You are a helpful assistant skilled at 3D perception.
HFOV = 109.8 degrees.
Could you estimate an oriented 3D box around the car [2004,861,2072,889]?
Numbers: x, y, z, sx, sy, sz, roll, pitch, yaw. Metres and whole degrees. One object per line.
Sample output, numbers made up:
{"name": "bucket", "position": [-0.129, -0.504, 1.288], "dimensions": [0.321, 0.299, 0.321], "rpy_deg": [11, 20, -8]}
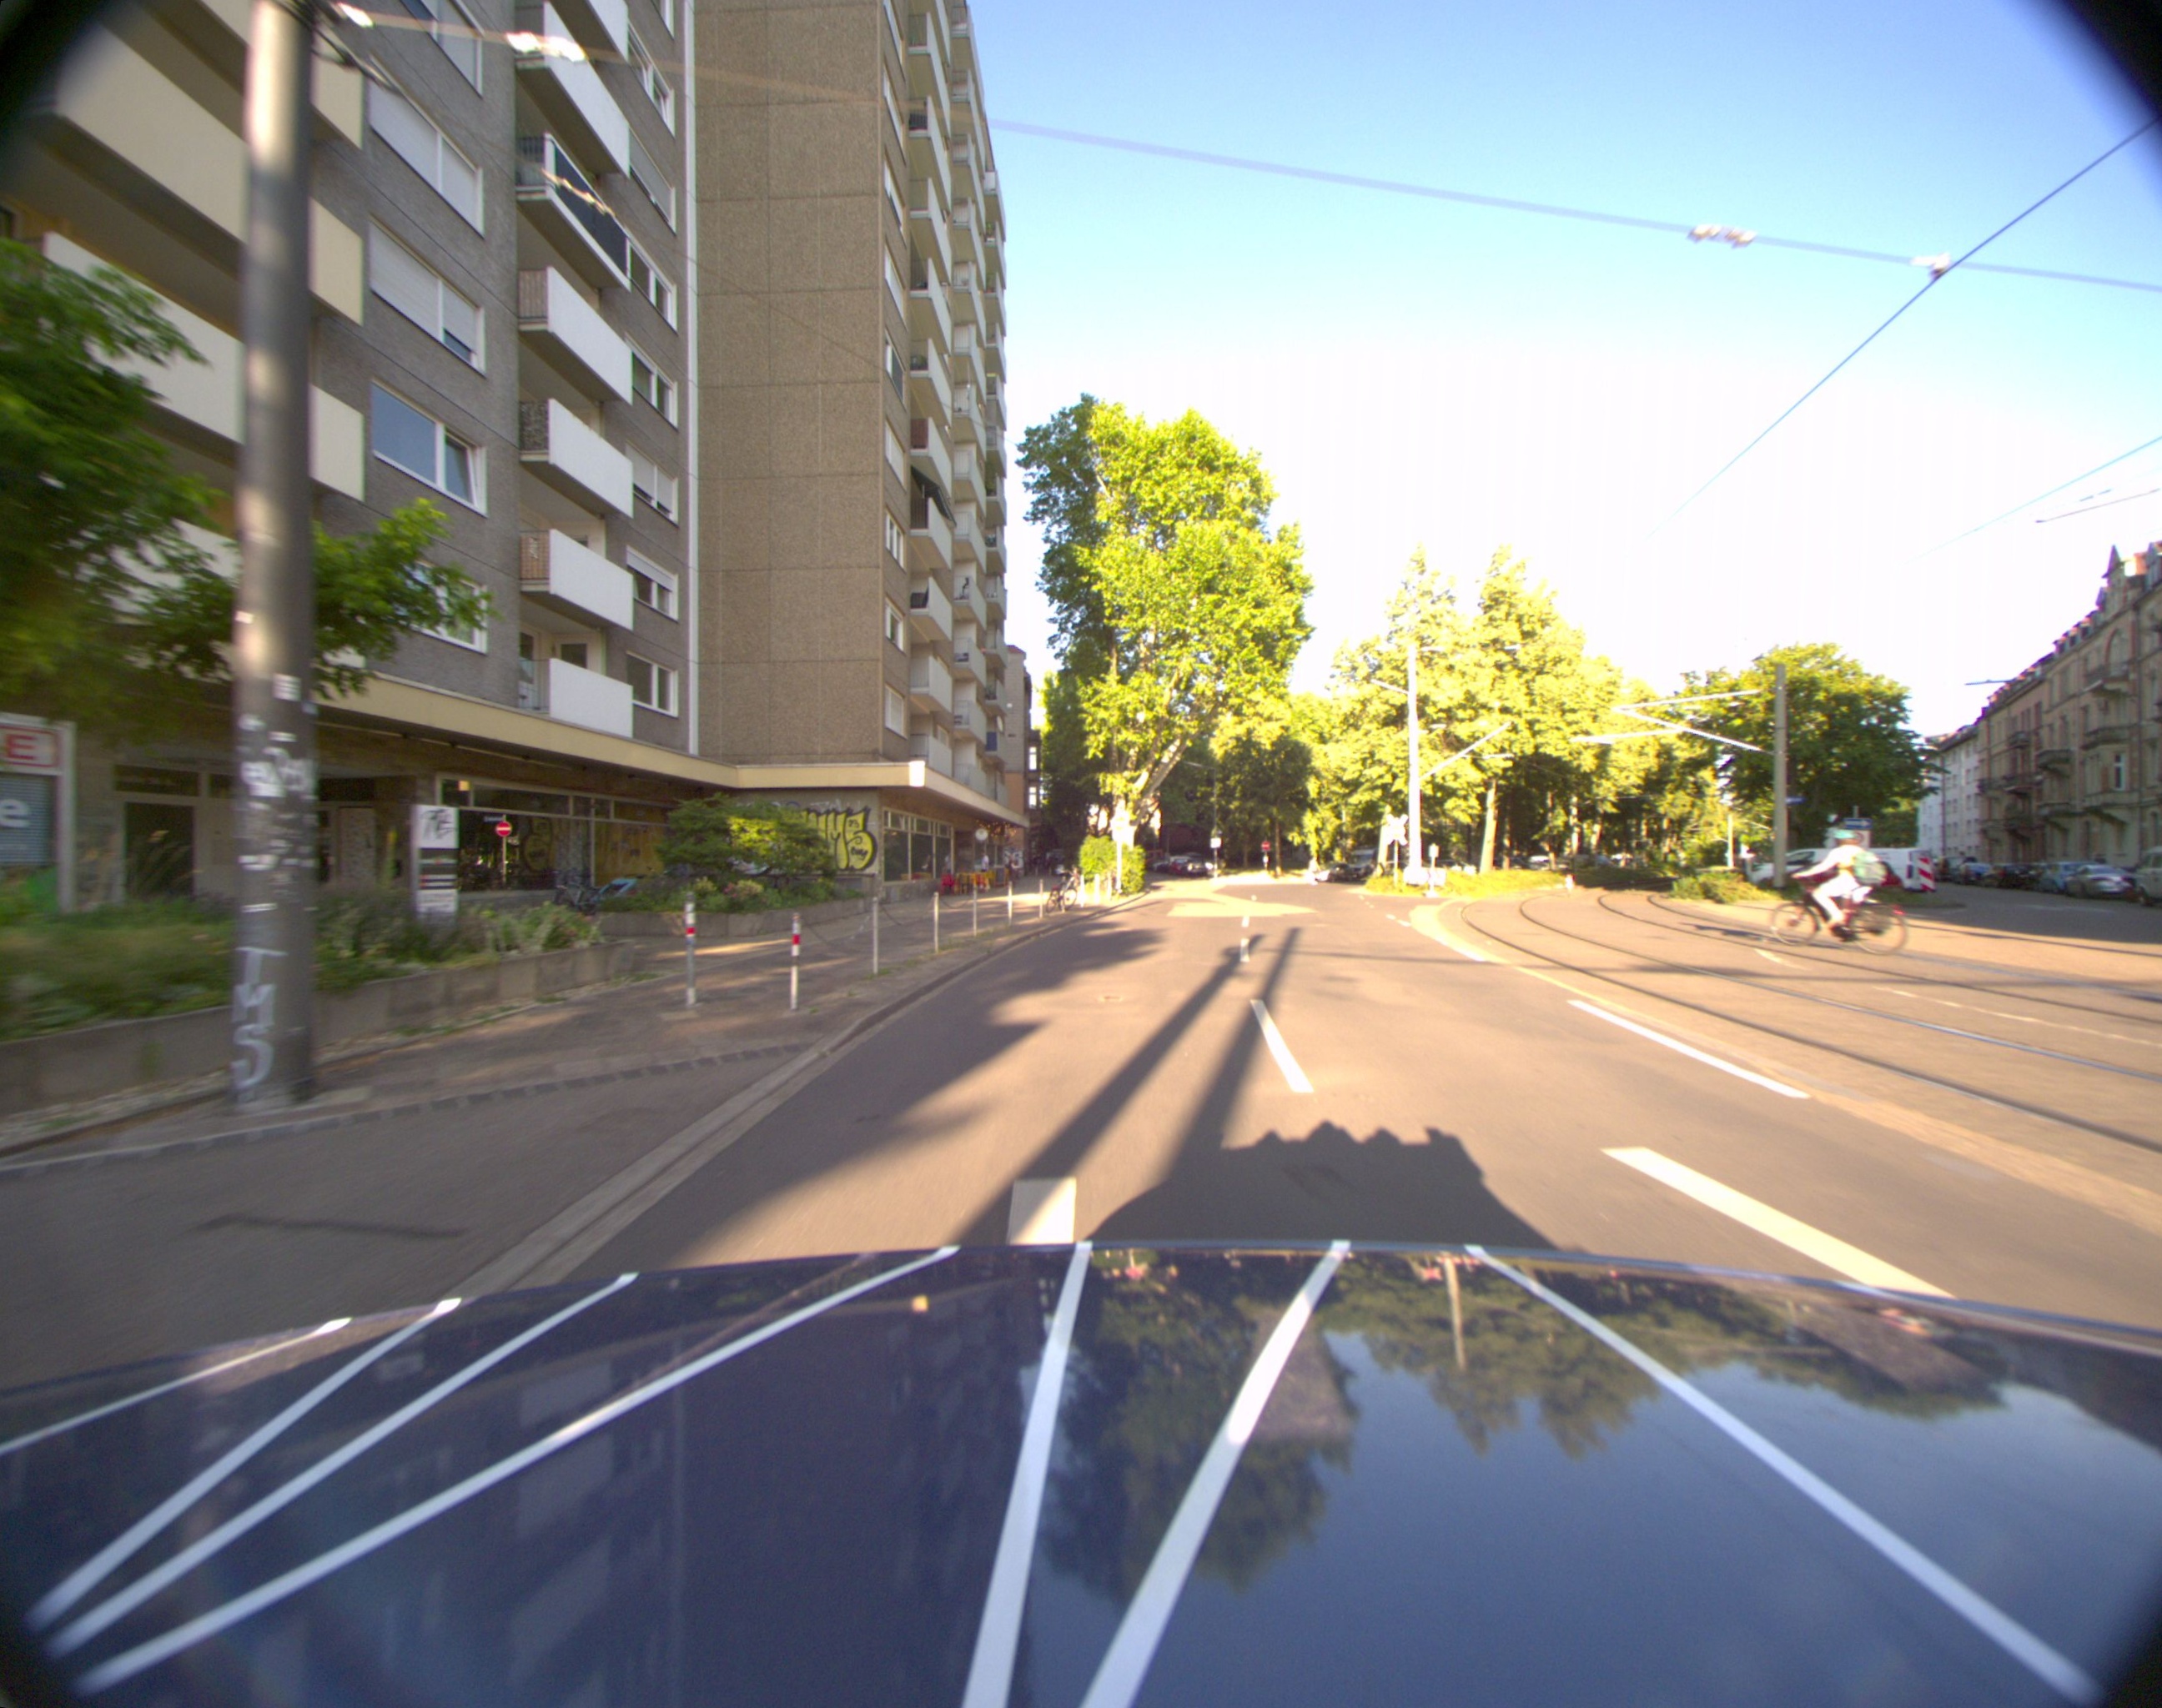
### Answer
{"name": "car", "position": [48.353, 1.040, 38.469], "dimensions": [3.696, 1.346, 1.736], "rpy_deg": [0, 0, -45]}

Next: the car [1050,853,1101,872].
{"name": "car", "position": [-0.444, 0.695, 62.072], "dimensions": [3.999, 1.499, 1.885], "rpy_deg": [0, 0, -7]}

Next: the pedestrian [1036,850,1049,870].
{"name": "pedestrian", "position": [-3.888, 0.569, 75.972], "dimensions": [1.213, 2.002, 1.206], "rpy_deg": [0, 0, -6]}

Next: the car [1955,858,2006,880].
{"name": "car", "position": [57.570, 0.918, 48.695], "dimensions": [1.736, 1.346, 3.696], "rpy_deg": [0, 0, 44]}

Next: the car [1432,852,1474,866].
{"name": "car", "position": [45.300, 0.572, 92.617], "dimensions": [2.003, 1.696, 4.347], "rpy_deg": [0, 0, -28]}

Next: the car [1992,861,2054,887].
{"name": "car", "position": [52.881, 1.087, 42.715], "dimensions": [1.736, 1.346, 3.696], "rpy_deg": [0, 0, 44]}

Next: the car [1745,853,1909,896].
{"name": "car", "position": [27.713, 0.715, 28.383], "dimensions": [1.871, 1.499, 3.991], "rpy_deg": [0, 0, -27]}

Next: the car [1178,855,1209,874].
{"name": "car", "position": [9.107, 0.826, 61.578], "dimensions": [1.740, 1.440, 3.630], "rpy_deg": [0, 0, -5]}

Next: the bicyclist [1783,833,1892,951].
{"name": "bicyclist", "position": [11.710, 0.565, 11.795], "dimensions": [0.607, 1.752, 1.060], "rpy_deg": [0, 0, -5]}

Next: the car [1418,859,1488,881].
{"name": "car", "position": [24.023, 0.982, 49.134], "dimensions": [1.744, 1.346, 3.679], "rpy_deg": [0, 0, -32]}

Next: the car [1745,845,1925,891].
{"name": "car", "position": [31.723, 0.562, 32.177], "dimensions": [2.003, 1.798, 5.048], "rpy_deg": [0, 0, -27]}

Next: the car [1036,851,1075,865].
{"name": "car", "position": [-2.669, 0.406, 79.886], "dimensions": [3.999, 1.499, 1.885], "rpy_deg": [0, 0, -6]}

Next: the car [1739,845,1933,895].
{"name": "car", "position": [29.473, 0.584, 29.905], "dimensions": [2.003, 1.777, 5.048], "rpy_deg": [0, 0, -27]}

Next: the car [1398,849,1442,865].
{"name": "car", "position": [38.547, 0.364, 86.499], "dimensions": [2.002, 1.739, 4.435], "rpy_deg": [0, 0, -22]}

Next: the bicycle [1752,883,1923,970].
{"name": "bicycle", "position": [11.710, 1.080, 11.873], "dimensions": [0.611, 1.168, 1.951], "rpy_deg": [0, 0, -5]}

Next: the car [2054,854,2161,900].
{"name": "car", "position": [41.390, 0.872, 30.737], "dimensions": [4.273, 1.695, 1.994], "rpy_deg": [0, 0, -45]}

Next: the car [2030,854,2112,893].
{"name": "car", "position": [45.703, 0.845, 35.165], "dimensions": [3.696, 1.695, 1.838], "rpy_deg": [0, 0, -45]}

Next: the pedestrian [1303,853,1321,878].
{"name": "pedestrian", "position": [15.981, 0.795, 52.588], "dimensions": [0.889, 1.758, 0.829], "rpy_deg": [0, 0, -15]}

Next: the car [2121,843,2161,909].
{"name": "car", "position": [35.273, 0.658, 24.117], "dimensions": [4.646, 2.002, 1.994], "rpy_deg": [0, 0, -45]}

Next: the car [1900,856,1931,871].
{"name": "car", "position": [78.334, 0.872, 71.367], "dimensions": [1.736, 1.346, 3.696], "rpy_deg": [0, 0, 44]}

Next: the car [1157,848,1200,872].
{"name": "car", "position": [9.526, 0.582, 74.537], "dimensions": [3.926, 2.391, 1.534], "rpy_deg": [0, 0, -8]}

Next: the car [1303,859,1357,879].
{"name": "car", "position": [18.266, 1.091, 55.681], "dimensions": [4.008, 1.390, 1.945], "rpy_deg": [0, 0, -41]}

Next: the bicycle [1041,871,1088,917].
{"name": "bicycle", "position": [-0.417, 1.051, 20.626], "dimensions": [0.609, 1.128, 2.283], "rpy_deg": [0, 0, 17]}

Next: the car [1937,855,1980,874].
{"name": "car", "position": [64.222, 0.750, 55.646], "dimensions": [1.736, 1.346, 3.696], "rpy_deg": [0, 0, 44]}

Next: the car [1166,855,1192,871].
{"name": "car", "position": [8.628, 0.783, 67.192], "dimensions": [1.535, 1.440, 3.925], "rpy_deg": [0, 0, -5]}

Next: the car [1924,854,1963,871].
{"name": "car", "position": [68.050, 0.656, 59.958], "dimensions": [1.736, 1.346, 3.696], "rpy_deg": [0, 0, 44]}

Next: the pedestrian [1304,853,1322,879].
{"name": "pedestrian", "position": [15.759, 0.815, 51.603], "dimensions": [0.889, 1.758, 0.829], "rpy_deg": [0, 0, -15]}

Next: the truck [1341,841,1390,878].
{"name": "truck", "position": [22.302, 0.388, 59.469], "dimensions": [1.994, 2.767, 4.895], "rpy_deg": [0, 0, 42]}

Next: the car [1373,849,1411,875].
{"name": "car", "position": [25.879, 0.650, 63.111], "dimensions": [1.785, 2.067, 4.009], "rpy_deg": [0, 0, 40]}

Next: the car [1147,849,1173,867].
{"name": "car", "position": [8.390, 0.451, 81.013], "dimensions": [1.771, 1.846, 4.226], "rpy_deg": [0, 0, -7]}

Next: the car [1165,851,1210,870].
{"name": "car", "position": [10.075, 0.646, 72.094], "dimensions": [3.926, 1.751, 1.534], "rpy_deg": [0, 0, -8]}

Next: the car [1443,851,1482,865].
{"name": "car", "position": [47.345, 0.461, 94.383], "dimensions": [1.888, 1.739, 3.991], "rpy_deg": [0, 0, -29]}

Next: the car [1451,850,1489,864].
{"name": "car", "position": [49.278, 0.365, 96.333], "dimensions": [1.888, 1.739, 3.991], "rpy_deg": [0, 0, -29]}
